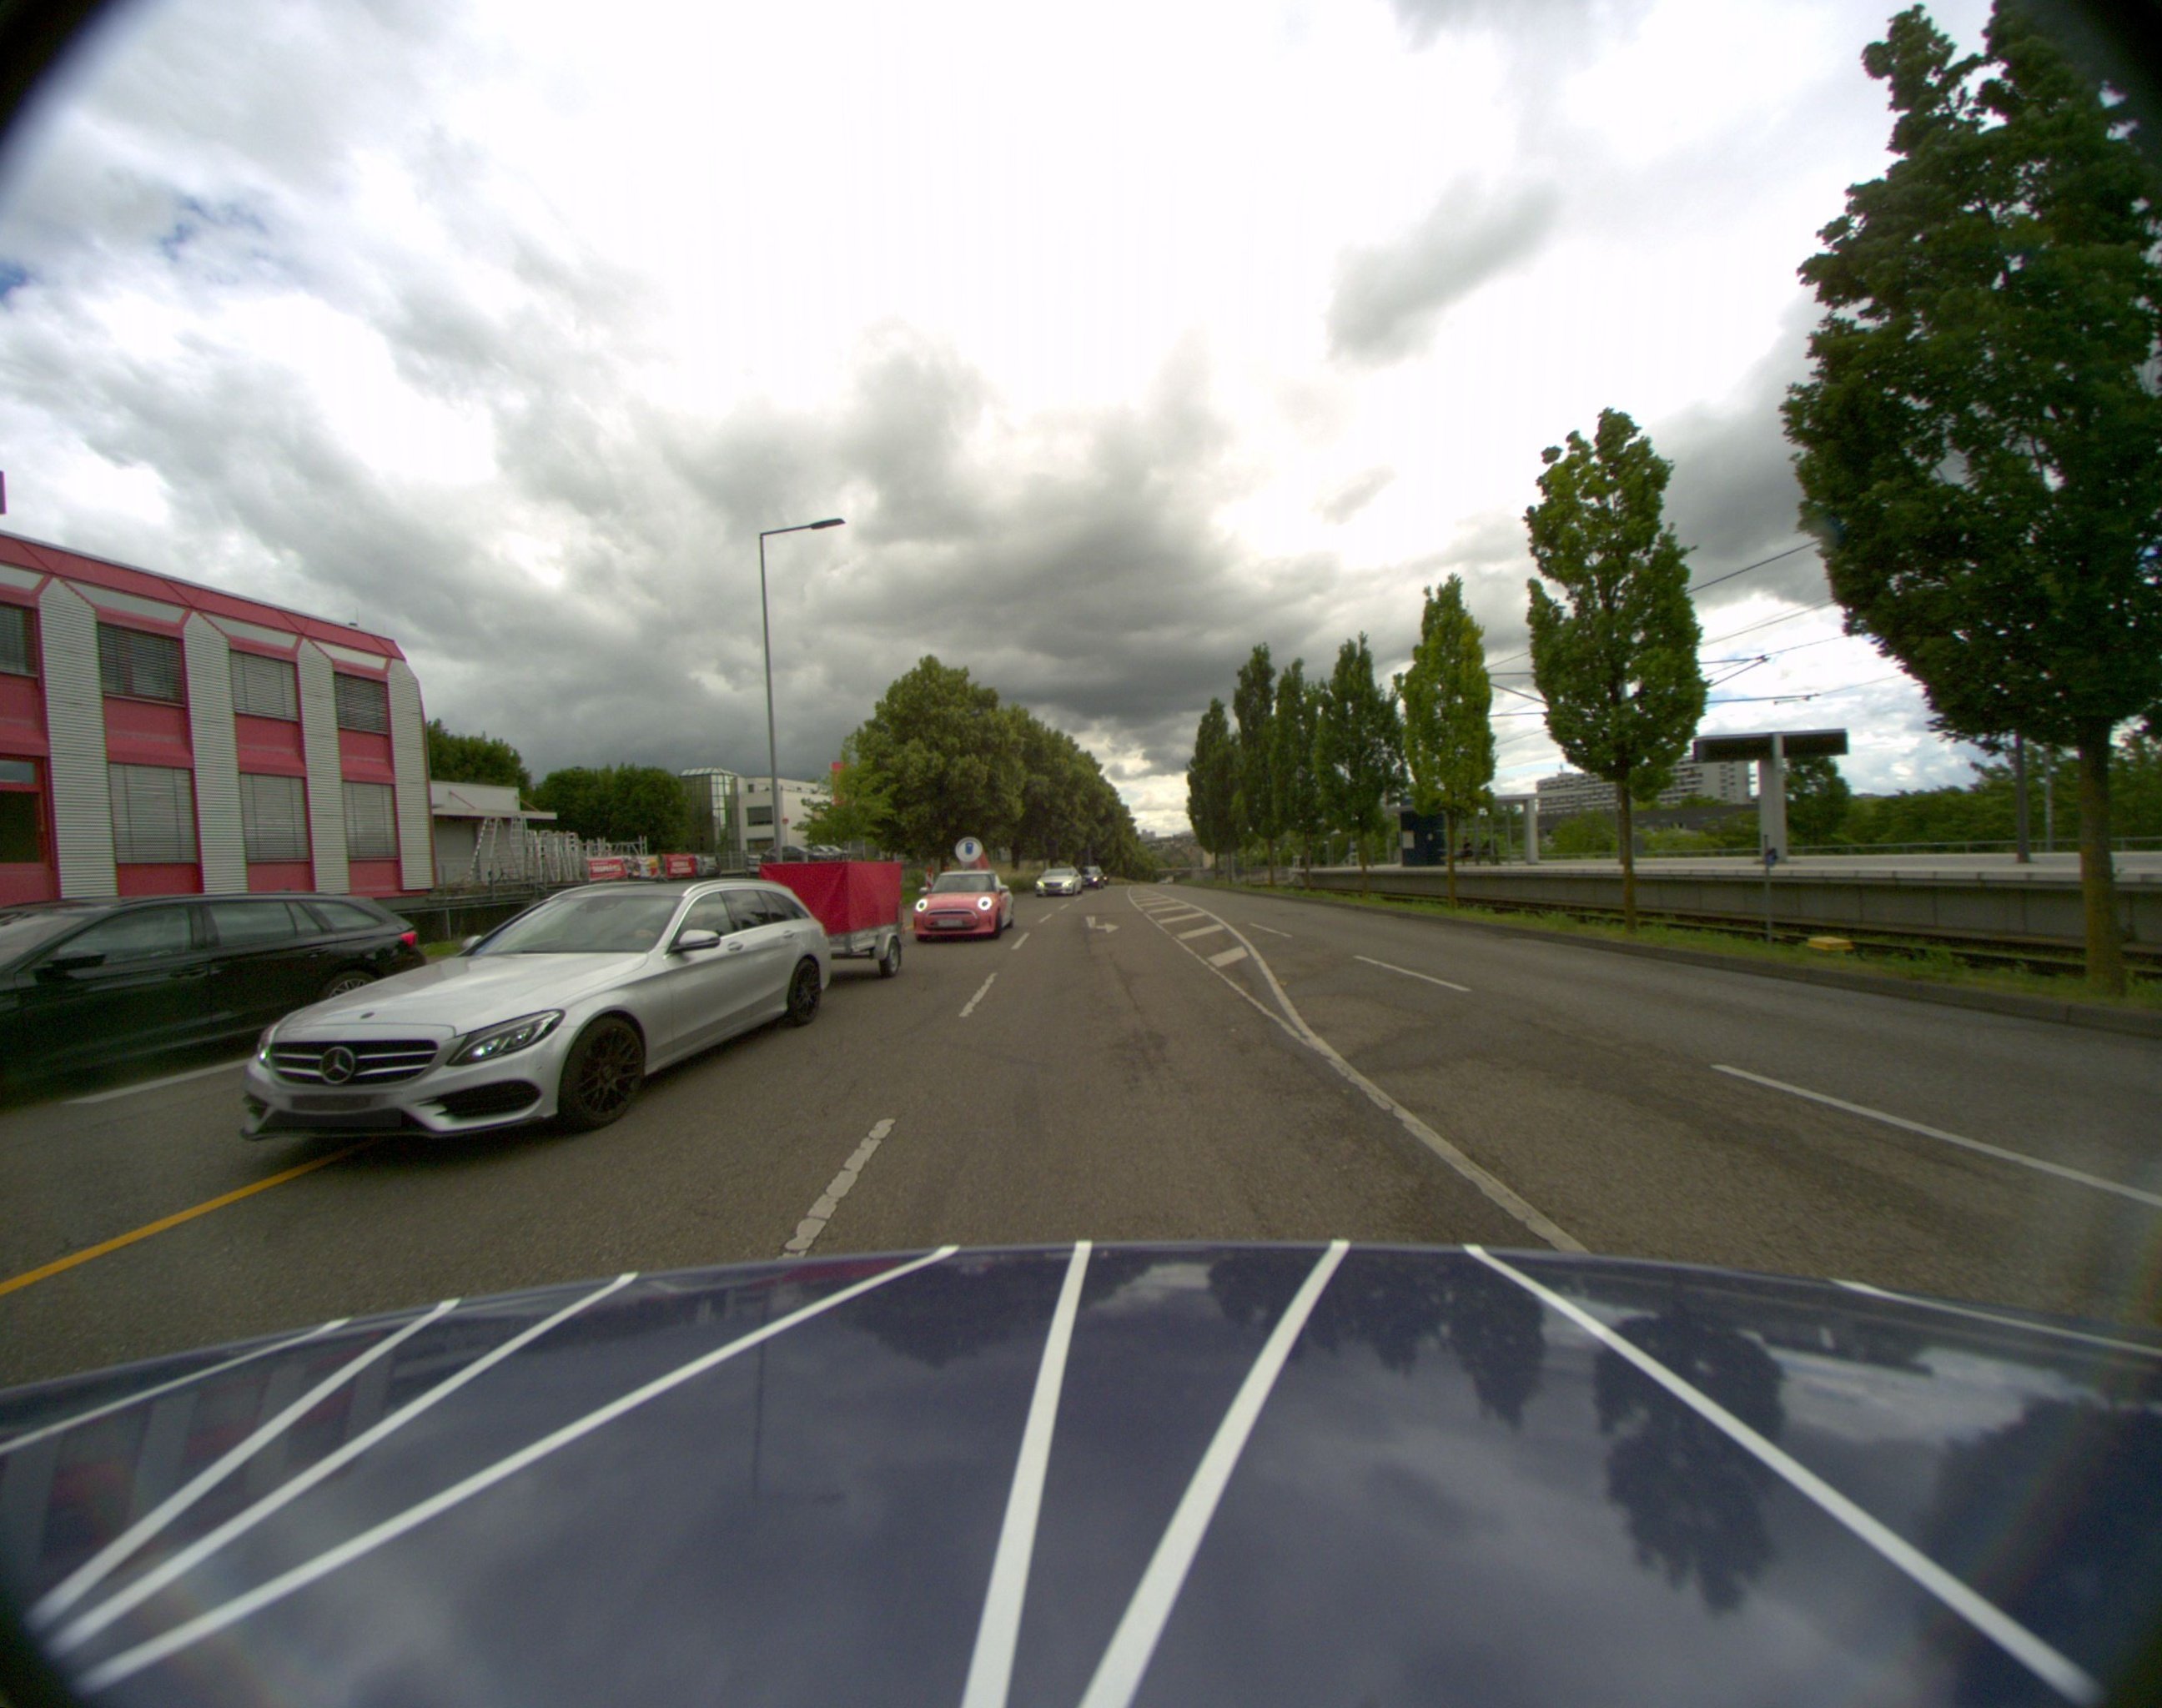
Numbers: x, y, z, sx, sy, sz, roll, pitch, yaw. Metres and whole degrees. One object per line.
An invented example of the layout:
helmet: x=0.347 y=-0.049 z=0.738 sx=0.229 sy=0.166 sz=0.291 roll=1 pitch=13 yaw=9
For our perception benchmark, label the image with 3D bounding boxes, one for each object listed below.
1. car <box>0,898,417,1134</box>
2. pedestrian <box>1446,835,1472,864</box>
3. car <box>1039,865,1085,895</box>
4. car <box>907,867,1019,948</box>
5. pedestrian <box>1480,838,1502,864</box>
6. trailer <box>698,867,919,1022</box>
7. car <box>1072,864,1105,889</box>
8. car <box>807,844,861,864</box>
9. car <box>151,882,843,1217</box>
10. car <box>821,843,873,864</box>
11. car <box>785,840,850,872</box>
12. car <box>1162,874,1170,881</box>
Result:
car: x=-8.190 y=1.210 z=6.059 sx=1.840 sy=1.424 sz=4.279 roll=-2 pitch=0 yaw=3
pedestrian: x=16.135 y=-0.199 z=32.427 sx=0.763 sy=1.192 sz=0.665 roll=-2 pitch=0 yaw=0
car: x=-0.904 y=1.294 z=38.156 sx=1.738 sy=1.365 sz=4.003 roll=-2 pitch=-2 yaw=6
car: x=-2.436 y=1.075 z=16.581 sx=1.723 sy=1.449 sz=3.697 roll=-2 pitch=0 yaw=1
pedestrian: x=16.957 y=-0.125 z=31.435 sx=0.608 sy=1.072 sz=0.470 roll=-2 pitch=-1 yaw=0
trailer: x=-3.301 y=1.014 z=9.854 sx=1.412 sy=1.584 sz=3.304 roll=-2 pitch=0 yaw=4
car: x=0.507 y=1.422 z=49.386 sx=1.805 sy=1.439 sz=4.001 roll=-2 pitch=0 yaw=5
car: x=-20.134 y=0.021 z=62.014 sx=3.762 sy=1.355 sz=1.757 roll=-3 pitch=-2 yaw=9
car: x=-3.583 y=1.054 z=5.959 sx=1.675 sy=1.439 sz=4.490 roll=-2 pitch=0 yaw=4
car: x=-20.196 y=-0.032 z=65.628 sx=3.933 sy=1.473 sz=1.757 roll=-4 pitch=-2 yaw=9
car: x=-17.810 y=0.168 z=51.430 sx=3.762 sy=1.947 sz=1.645 roll=-3 pitch=-2 yaw=9
car: x=19.385 y=5.352 z=173.958 sx=1.719 sy=1.512 sz=3.747 roll=-1 pitch=-2 yaw=6
